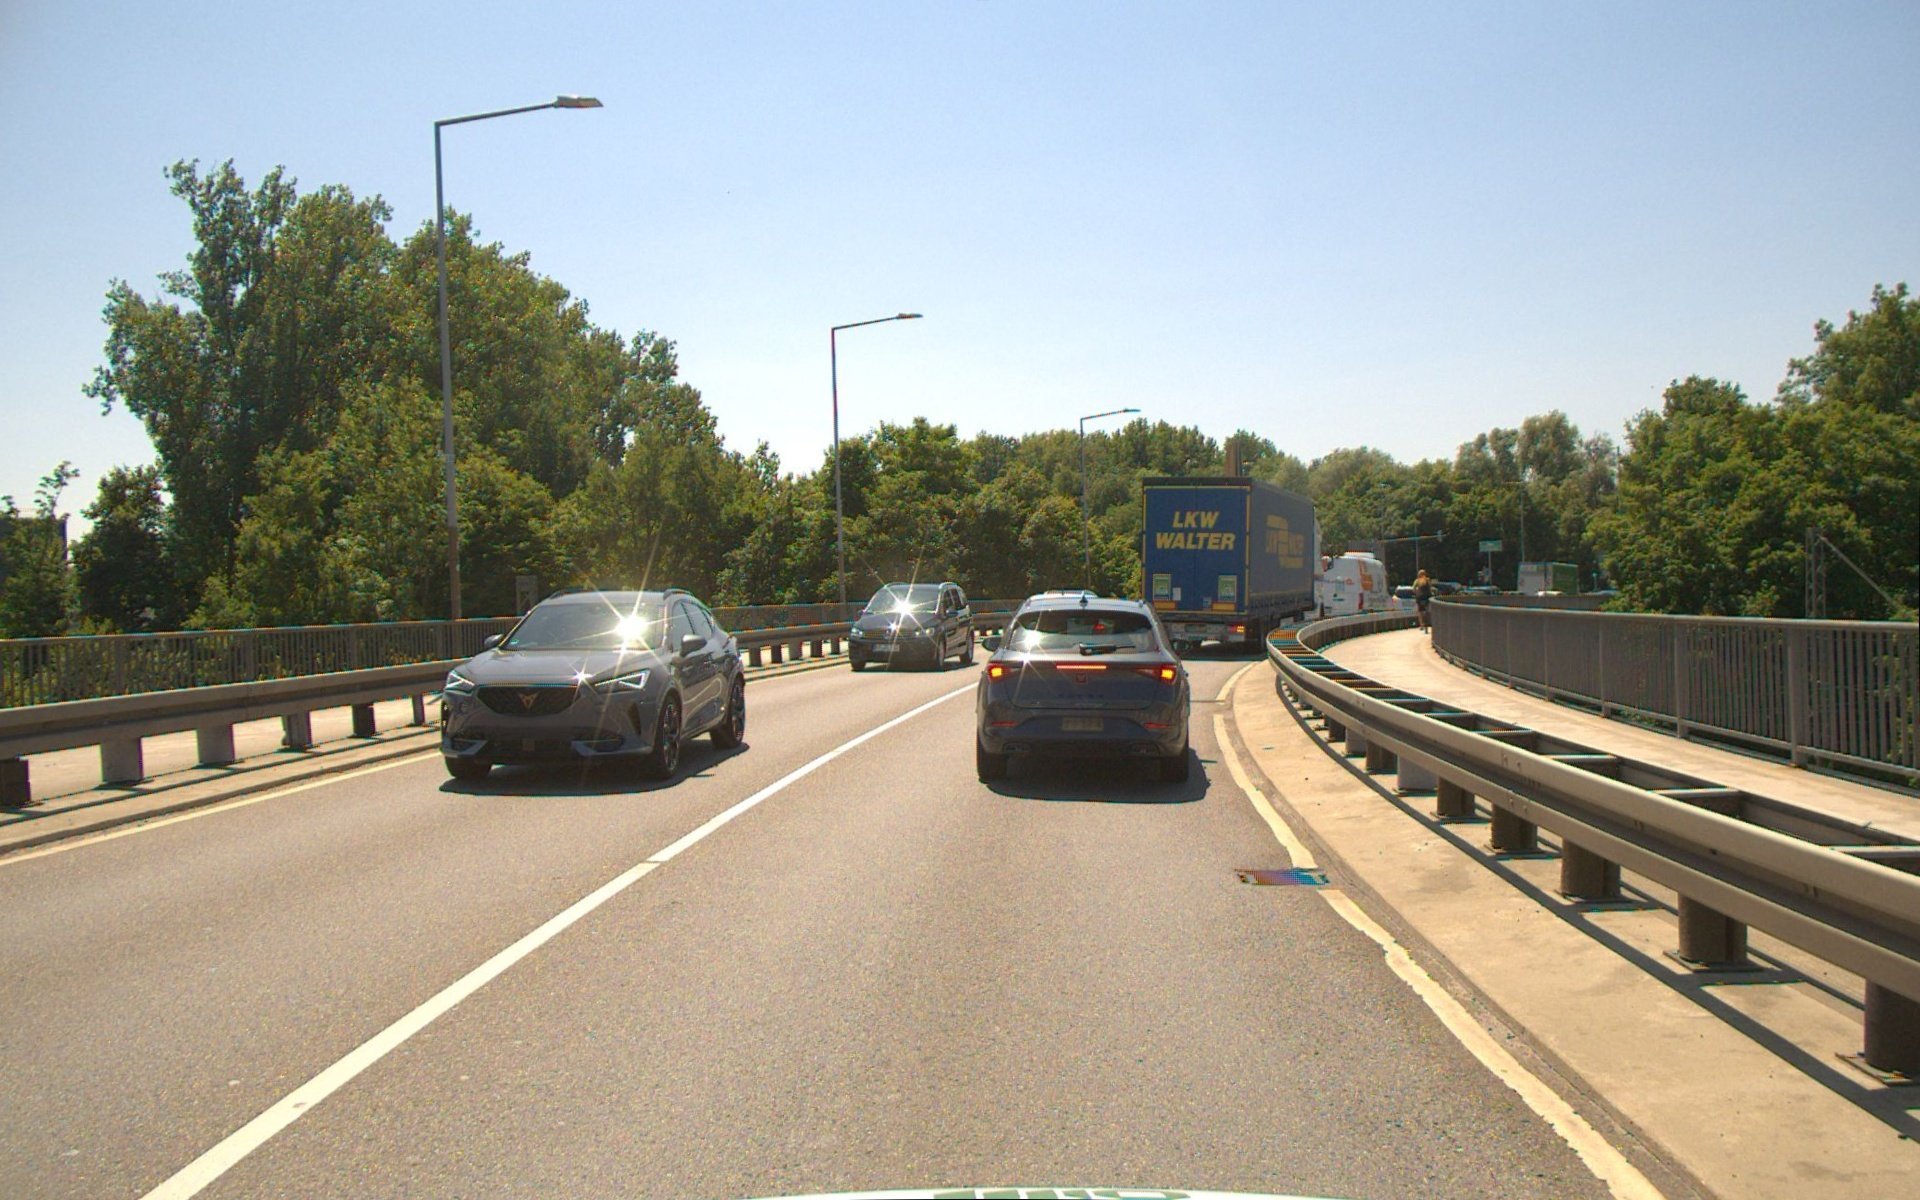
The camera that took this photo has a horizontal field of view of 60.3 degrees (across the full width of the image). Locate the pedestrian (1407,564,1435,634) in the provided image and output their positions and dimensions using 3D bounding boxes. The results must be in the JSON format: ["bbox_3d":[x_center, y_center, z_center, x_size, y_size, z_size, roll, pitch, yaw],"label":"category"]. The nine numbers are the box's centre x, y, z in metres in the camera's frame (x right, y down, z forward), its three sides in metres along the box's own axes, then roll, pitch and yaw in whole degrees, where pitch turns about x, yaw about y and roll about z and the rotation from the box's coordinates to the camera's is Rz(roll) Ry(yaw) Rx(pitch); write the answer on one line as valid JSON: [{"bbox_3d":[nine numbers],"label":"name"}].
[{"bbox_3d":[13.190,-0.022,47.313,0.721,2.002,0.734,0,-1,18],"label":"pedestrian"}]

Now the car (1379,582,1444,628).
[{"bbox_3d":[19.246,0.236,70.435,1.852,1.882,3.995,0,-1,28],"label":"car"}]

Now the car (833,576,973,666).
[{"bbox_3d":[-1.036,0.395,32.303,1.865,1.617,4.003,-1,-1,11],"label":"car"}]

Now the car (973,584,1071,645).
[{"bbox_3d":[1.694,0.385,44.313,1.666,1.537,3.582,-1,-1,18],"label":"car"}]

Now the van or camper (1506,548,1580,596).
[{"bbox_3d":[35.421,-1.691,100.408,2.448,2.331,4.933,6,0,40],"label":"van or camper"}]

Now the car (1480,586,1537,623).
[{"bbox_3d":[28.842,0.237,86.879,1.855,1.882,3.988,0,-1,34],"label":"car"}]

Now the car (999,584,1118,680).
[{"bbox_3d":[1.716,0.509,27.818,1.559,1.487,3.548,1,0,10],"label":"car"}]

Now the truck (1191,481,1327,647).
[{"bbox_3d":[9.203,-0.979,50.235,3.103,4.665,7.399,0,-1,18],"label":"truck"}]

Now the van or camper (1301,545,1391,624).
[{"bbox_3d":[14.332,-0.584,61.195,2.159,2.758,5.923,0,1,24],"label":"van or camper"}]

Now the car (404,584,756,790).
[{"bbox_3d":[-3.112,0.664,14.516,1.847,1.523,4.318,-1,0,4],"label":"car"}]

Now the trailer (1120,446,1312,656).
[{"bbox_3d":[7.079,-1.051,43.579,3.068,4.695,12.954,1,0,17],"label":"trailer"}]

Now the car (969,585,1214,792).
[{"bbox_3d":[1.037,0.639,14.145,1.807,1.525,3.759,0,0,2],"label":"car"}]
